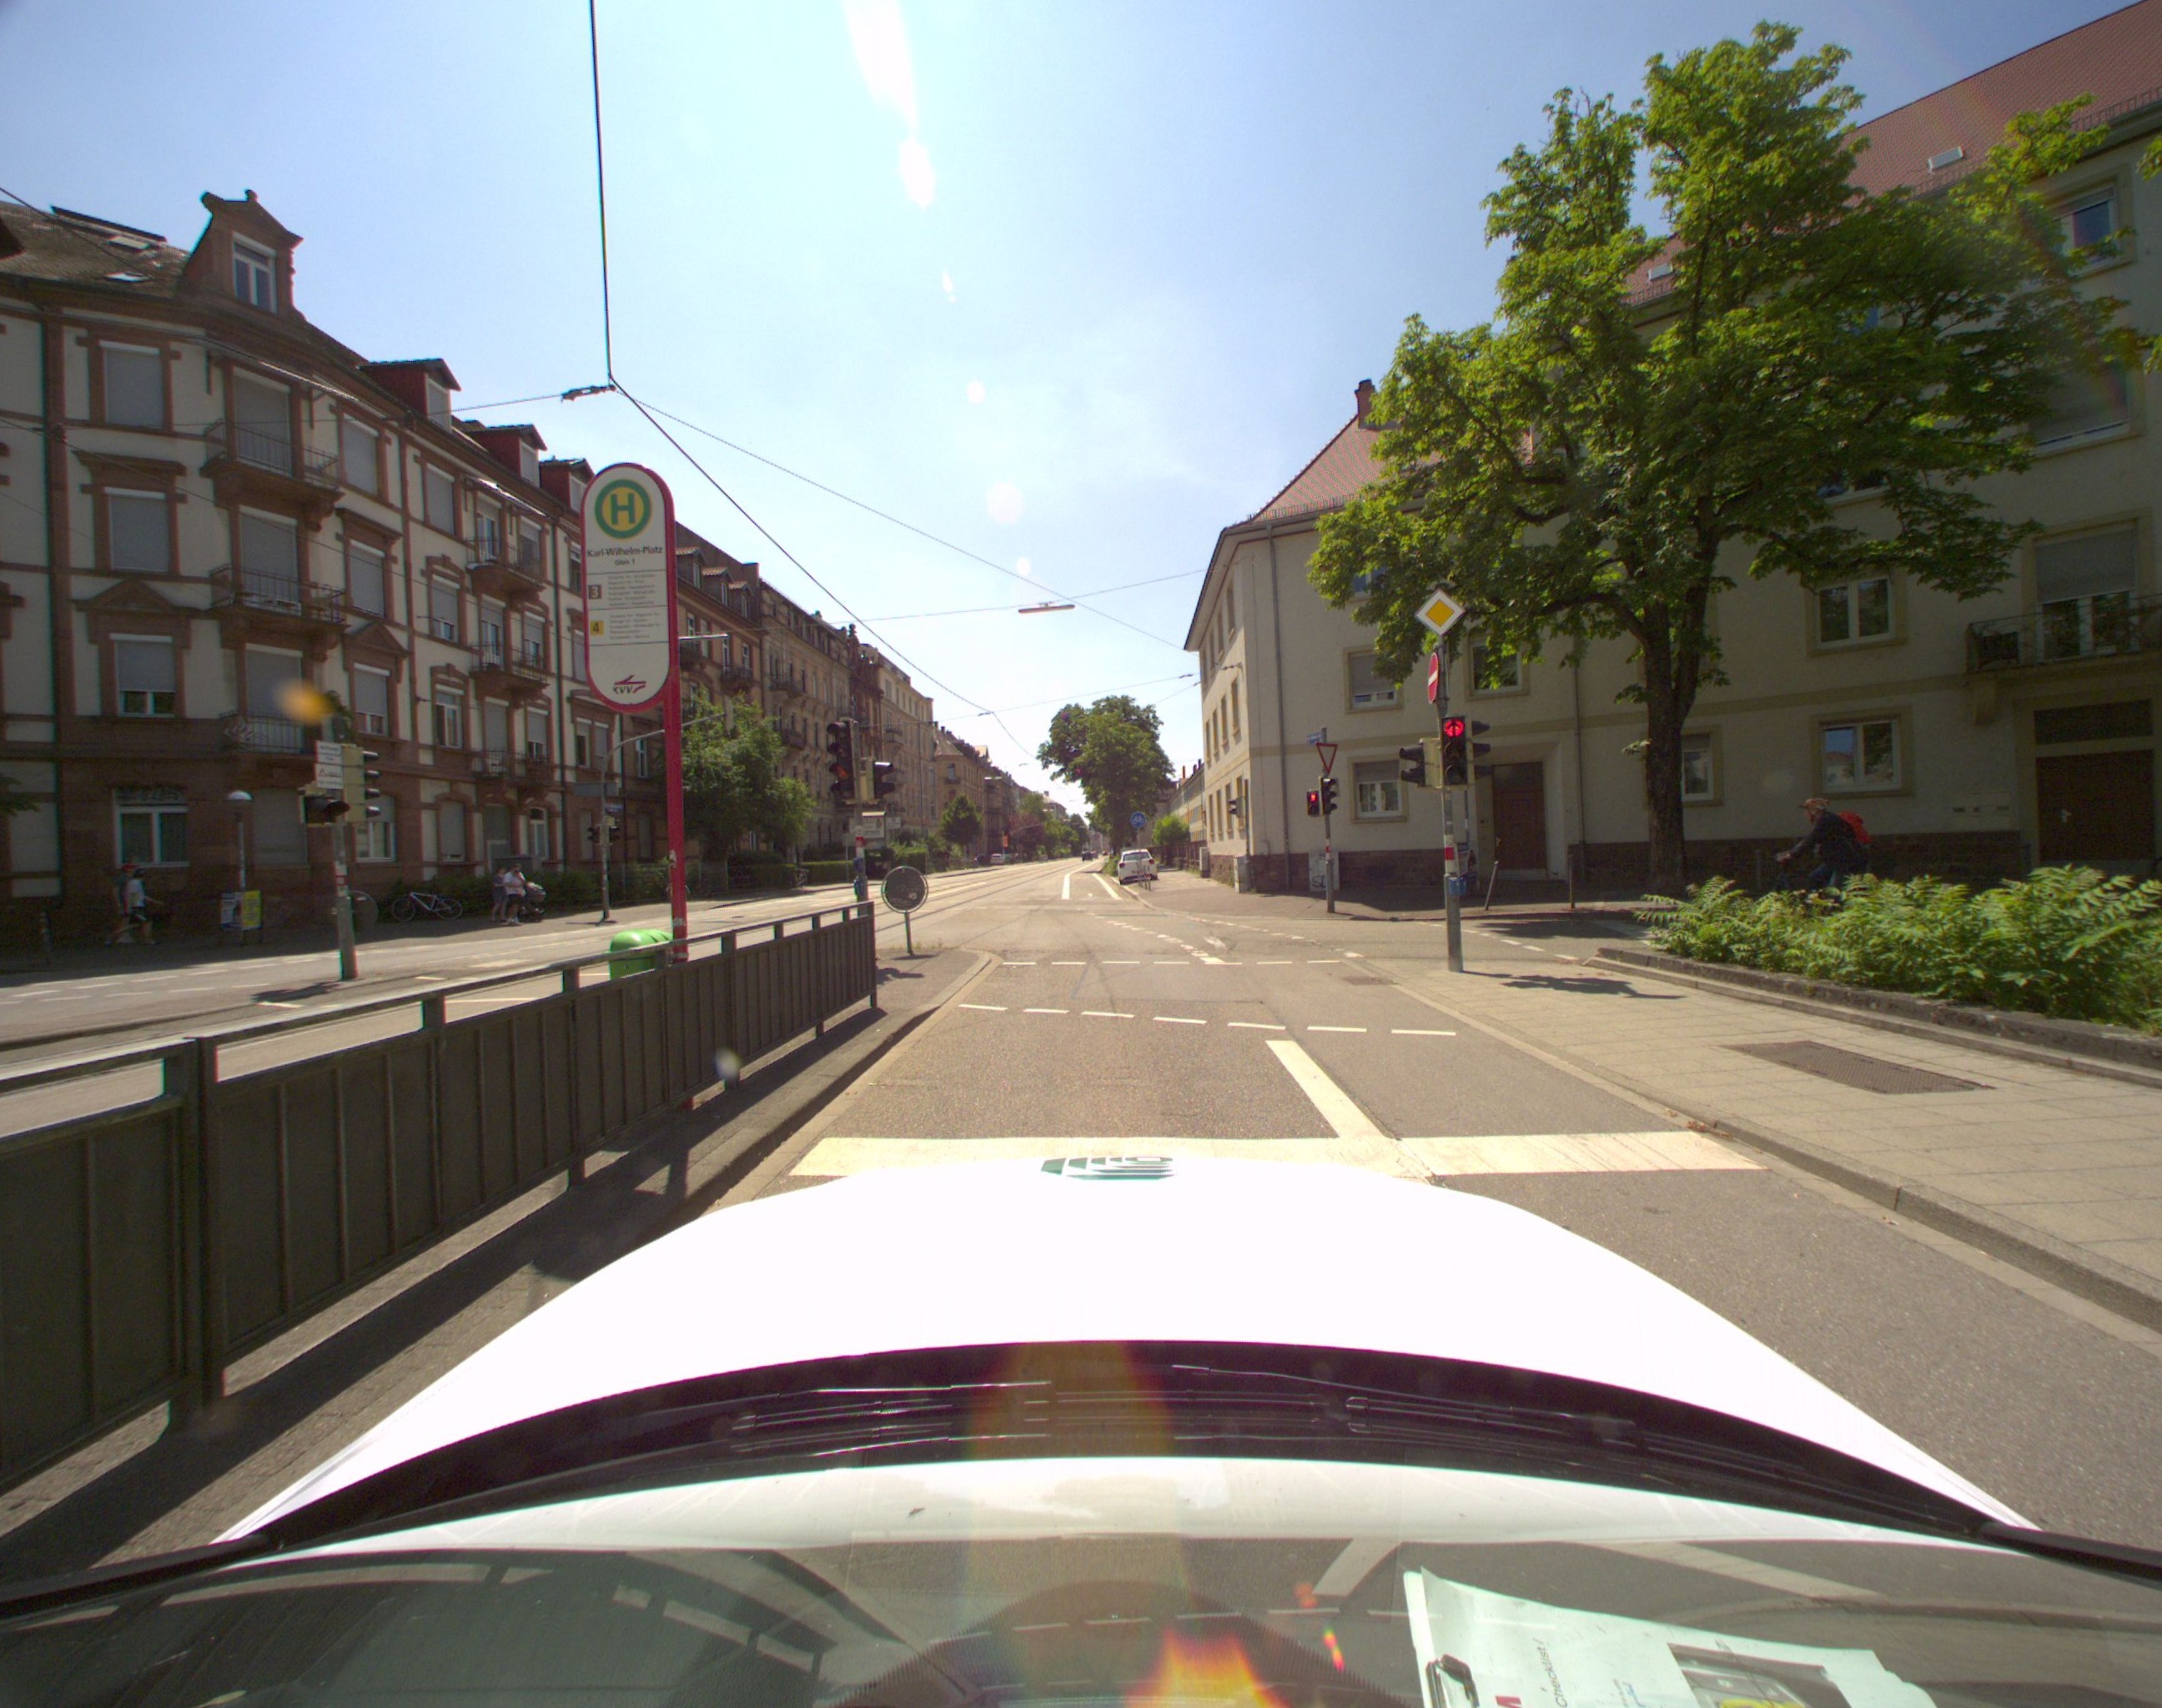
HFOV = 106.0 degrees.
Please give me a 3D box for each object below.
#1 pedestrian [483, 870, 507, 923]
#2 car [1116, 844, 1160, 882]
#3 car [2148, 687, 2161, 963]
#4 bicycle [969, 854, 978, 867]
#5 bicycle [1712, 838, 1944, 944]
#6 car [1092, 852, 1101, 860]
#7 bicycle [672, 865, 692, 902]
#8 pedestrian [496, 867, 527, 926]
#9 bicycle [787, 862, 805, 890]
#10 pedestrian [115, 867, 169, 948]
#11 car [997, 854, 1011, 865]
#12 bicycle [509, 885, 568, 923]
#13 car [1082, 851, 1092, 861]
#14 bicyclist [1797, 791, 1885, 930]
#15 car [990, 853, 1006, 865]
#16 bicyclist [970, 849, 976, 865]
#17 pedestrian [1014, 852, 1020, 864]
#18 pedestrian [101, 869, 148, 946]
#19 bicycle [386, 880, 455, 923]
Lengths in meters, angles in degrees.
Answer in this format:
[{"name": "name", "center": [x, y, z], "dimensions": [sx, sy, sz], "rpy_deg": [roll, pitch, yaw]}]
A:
[{"name": "pedestrian", "center": [-17.186, 1.227, 23.895], "dimensions": [0.510, 1.516, 0.464], "rpy_deg": [-1, -1, -40]}, {"name": "car", "center": [2.542, 0.405, 37.210], "dimensions": [1.741, 1.472, 3.939], "rpy_deg": [-5, 0, 1]}, {"name": "car", "center": [12.503, -0.334, 5.853], "dimensions": [2.010, 2.590, 5.784], "rpy_deg": [-2, 0, -37]}, {"name": "bicycle", "center": [-11.665, 0.738, 88.496], "dimensions": [0.575, 1.388, 2.502], "rpy_deg": [-2, 0, 2]}, {"name": "bicycle", "center": [9.281, 0.450, 10.251], "dimensions": [2.060, 1.236, 0.584], "rpy_deg": [-2, -1, 35]}, {"name": "car", "center": [3.154, 0.324, 168.732], "dimensions": [1.741, 1.472, 3.939], "rpy_deg": [-5, 0, 1]}, {"name": "bicycle", "center": [-15.878, 1.136, 32.411], "dimensions": [0.617, 1.395, 2.289], "rpy_deg": [-1, 0, -24]}, {"name": "pedestrian", "center": [-16.197, 1.194, 23.156], "dimensions": [0.657, 1.615, 0.464], "rpy_deg": [-1, 2, -40]}, {"name": "bicycle", "center": [-14.461, 1.094, 41.304], "dimensions": [0.594, 1.356, 2.420], "rpy_deg": [-1, 0, -24]}, {"name": "pedestrian", "center": [-21.801, 1.221, 18.922], "dimensions": [0.565, 1.825, 0.631], "rpy_deg": [-1, -1, -20]}, {"name": "car", "center": [-11.793, 0.787, 124.489], "dimensions": [1.623, 1.472, 3.563], "rpy_deg": [-5, 0, 0]}, {"name": "bicycle", "center": [-16.024, 1.453, 24.073], "dimensions": [1.410, 1.013, 0.384], "rpy_deg": [-2, 0, -39]}, {"name": "car", "center": [0.974, 0.305, 133.117], "dimensions": [1.519, 1.444, 3.367], "rpy_deg": [-4, 0, 2]}, {"name": "bicyclist", "center": [9.437, 0.081, 10.133], "dimensions": [0.687, 1.646, 0.584], "rpy_deg": [-2, -1, 35]}, {"name": "car", "center": [-11.822, 0.748, 116.134], "dimensions": [1.679, 1.472, 3.937], "rpy_deg": [-5, 0, 0]}, {"name": "bicyclist", "center": [-11.678, 0.325, 88.412], "dimensions": [0.540, 1.763, 0.498], "rpy_deg": [-2, -1, 1]}, {"name": "pedestrian", "center": [-9.502, 0.600, 120.669], "dimensions": [0.675, 1.727, 0.678], "rpy_deg": [-2, -1, 1]}, {"name": "pedestrian", "center": [-22.627, 1.254, 19.268], "dimensions": [0.508, 1.768, 0.525], "rpy_deg": [-1, -1, -20]}, {"name": "bicycle", "center": [-19.471, 1.393, 24.044], "dimensions": [1.522, 1.169, 0.362], "rpy_deg": [-1, 1, -25]}]
